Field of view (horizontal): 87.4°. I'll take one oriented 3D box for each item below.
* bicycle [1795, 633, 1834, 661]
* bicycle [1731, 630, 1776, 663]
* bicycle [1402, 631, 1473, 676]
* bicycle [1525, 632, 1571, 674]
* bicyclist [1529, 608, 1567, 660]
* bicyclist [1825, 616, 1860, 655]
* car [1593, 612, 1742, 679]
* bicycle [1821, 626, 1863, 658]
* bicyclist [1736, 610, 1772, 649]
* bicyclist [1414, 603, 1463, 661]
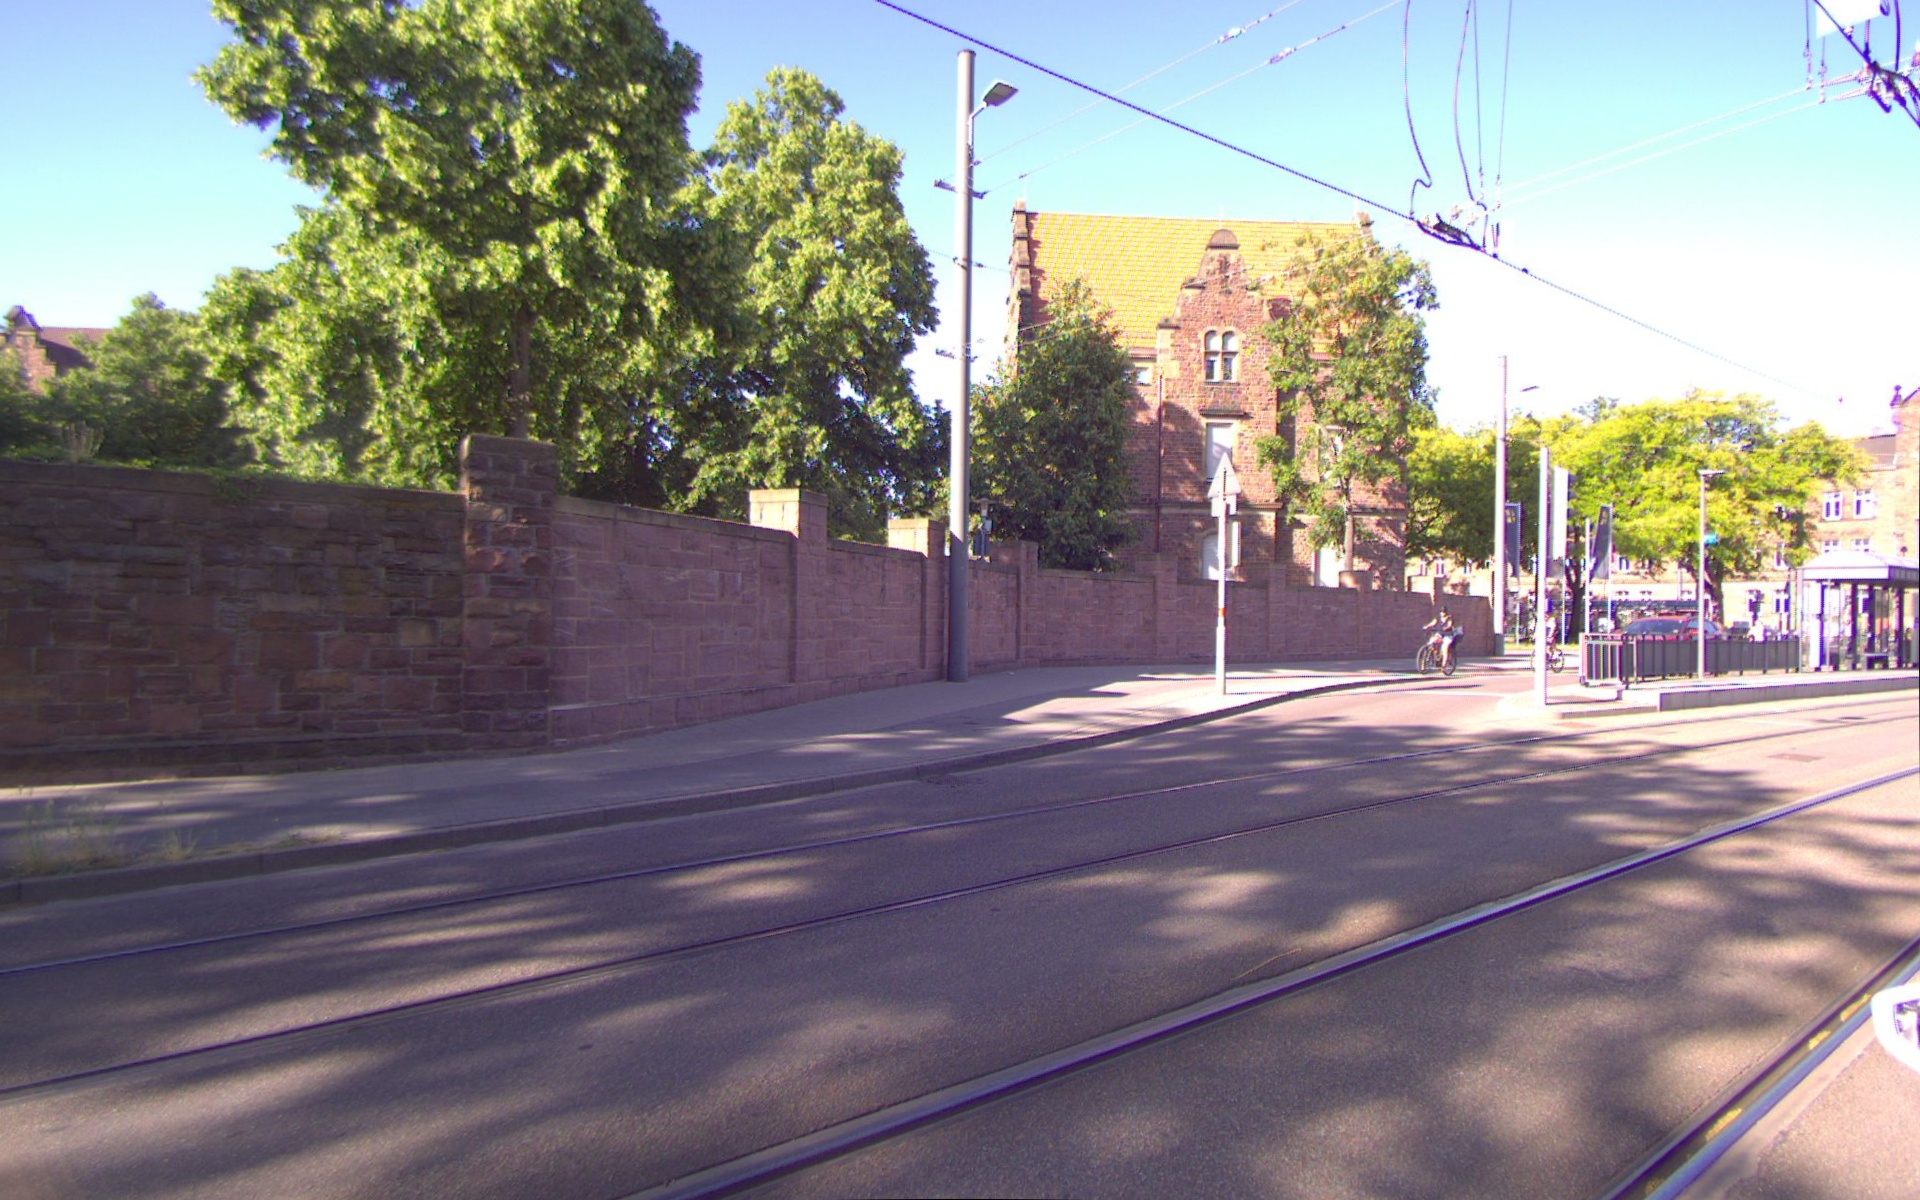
[{"bbox_3d":[35.974,1.967,42.292,1.993,1.087,0.665,1,1,-32],"label":"bicycle"},{"bbox_3d":[30.815,1.801,38.982,1.932,1.214,0.810,2,0,-34],"label":"bicycle"},{"bbox_3d":[12.313,1.368,25.891,2.042,1.103,0.680,1,0,-33],"label":"bicycle"},{"bbox_3d":[17.134,1.558,29.257,1.843,1.102,0.678,7,-6,-43],"label":"bicycle"},{"bbox_3d":[17.115,0.980,29.231,1.144,1.478,0.646,1,0,-43],"label":"bicyclist"},{"bbox_3d":[36.172,1.456,41.188,1.334,1.557,0.756,1,0,-34],"label":"bicyclist"},{"bbox_3d":[18.869,1.172,26.754,4.313,1.628,1.807,1,-1,-33],"label":"car"},{"bbox_3d":[36.167,1.711,41.186,2.067,1.247,0.772,1,-1,-34],"label":"bicycle"},{"bbox_3d":[30.834,1.150,38.985,1.178,1.490,0.752,2,0,-34],"label":"bicyclist"},{"bbox_3d":[12.337,0.817,25.910,1.140,1.478,0.649,1,0,-34],"label":"bicyclist"}]
